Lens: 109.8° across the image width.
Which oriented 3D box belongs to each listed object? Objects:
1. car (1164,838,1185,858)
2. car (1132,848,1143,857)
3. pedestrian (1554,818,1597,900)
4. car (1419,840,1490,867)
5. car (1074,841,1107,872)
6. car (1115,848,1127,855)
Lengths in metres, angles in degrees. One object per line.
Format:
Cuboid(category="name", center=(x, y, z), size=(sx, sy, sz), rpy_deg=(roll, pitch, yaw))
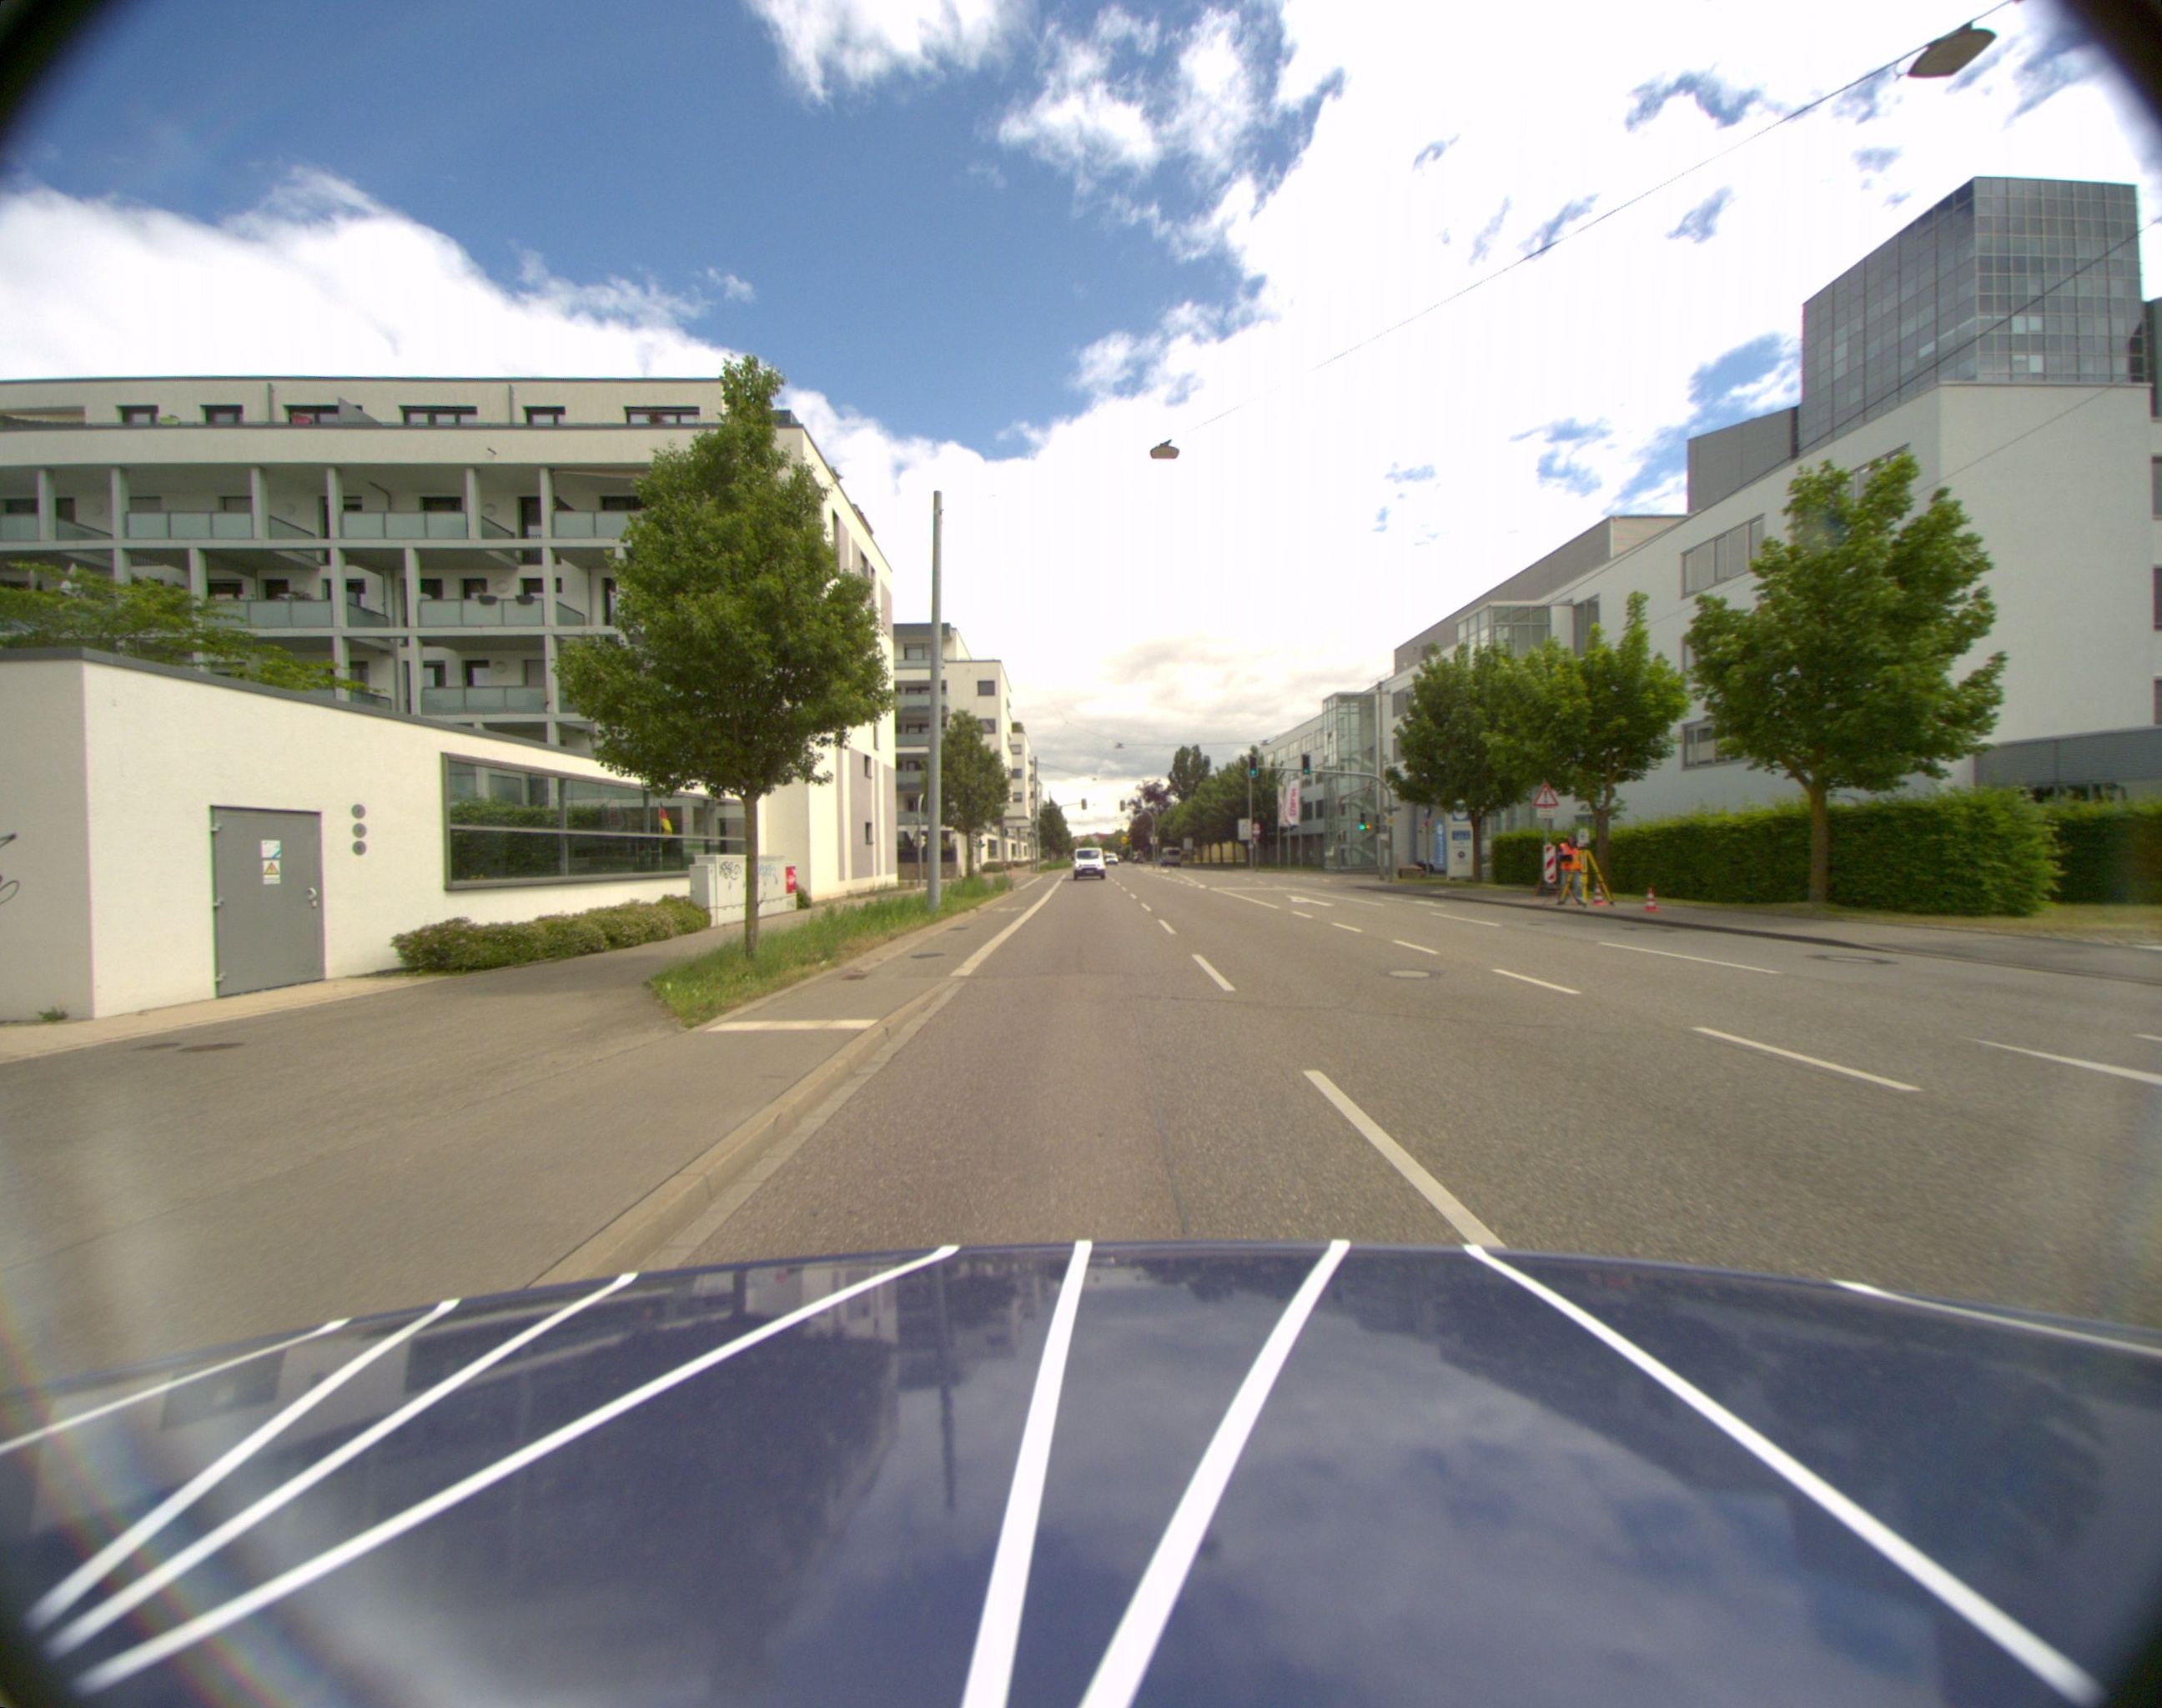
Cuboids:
Cuboid(category="car", center=(12.130, -0.760, 99.253), size=(2.148, 2.457, 6.073), rpy_deg=(1, 1, 2))
Cuboid(category="car", center=(10.231, -0.317, 138.152), size=(1.889, 1.543, 4.539), rpy_deg=(0, 1, 3))
Cuboid(category="pedestrian", center=(12.524, 0.116, 19.248), size=(0.724, 2.002, 0.812), rpy_deg=(-1, 2, 43))
Cuboid(category="car", center=(29.178, -0.097, 59.514), size=(4.822, 1.858, 2.087), rpy_deg=(2, 3, 24))
Cuboid(category="car", center=(0.578, 0.113, 49.723), size=(1.999, 1.905, 3.998), rpy_deg=(-2, 1, -2))
Cuboid(category="car", center=(8.406, -0.495, 160.167), size=(2.029, 1.437, 5.048), rpy_deg=(1, 1, -2))
